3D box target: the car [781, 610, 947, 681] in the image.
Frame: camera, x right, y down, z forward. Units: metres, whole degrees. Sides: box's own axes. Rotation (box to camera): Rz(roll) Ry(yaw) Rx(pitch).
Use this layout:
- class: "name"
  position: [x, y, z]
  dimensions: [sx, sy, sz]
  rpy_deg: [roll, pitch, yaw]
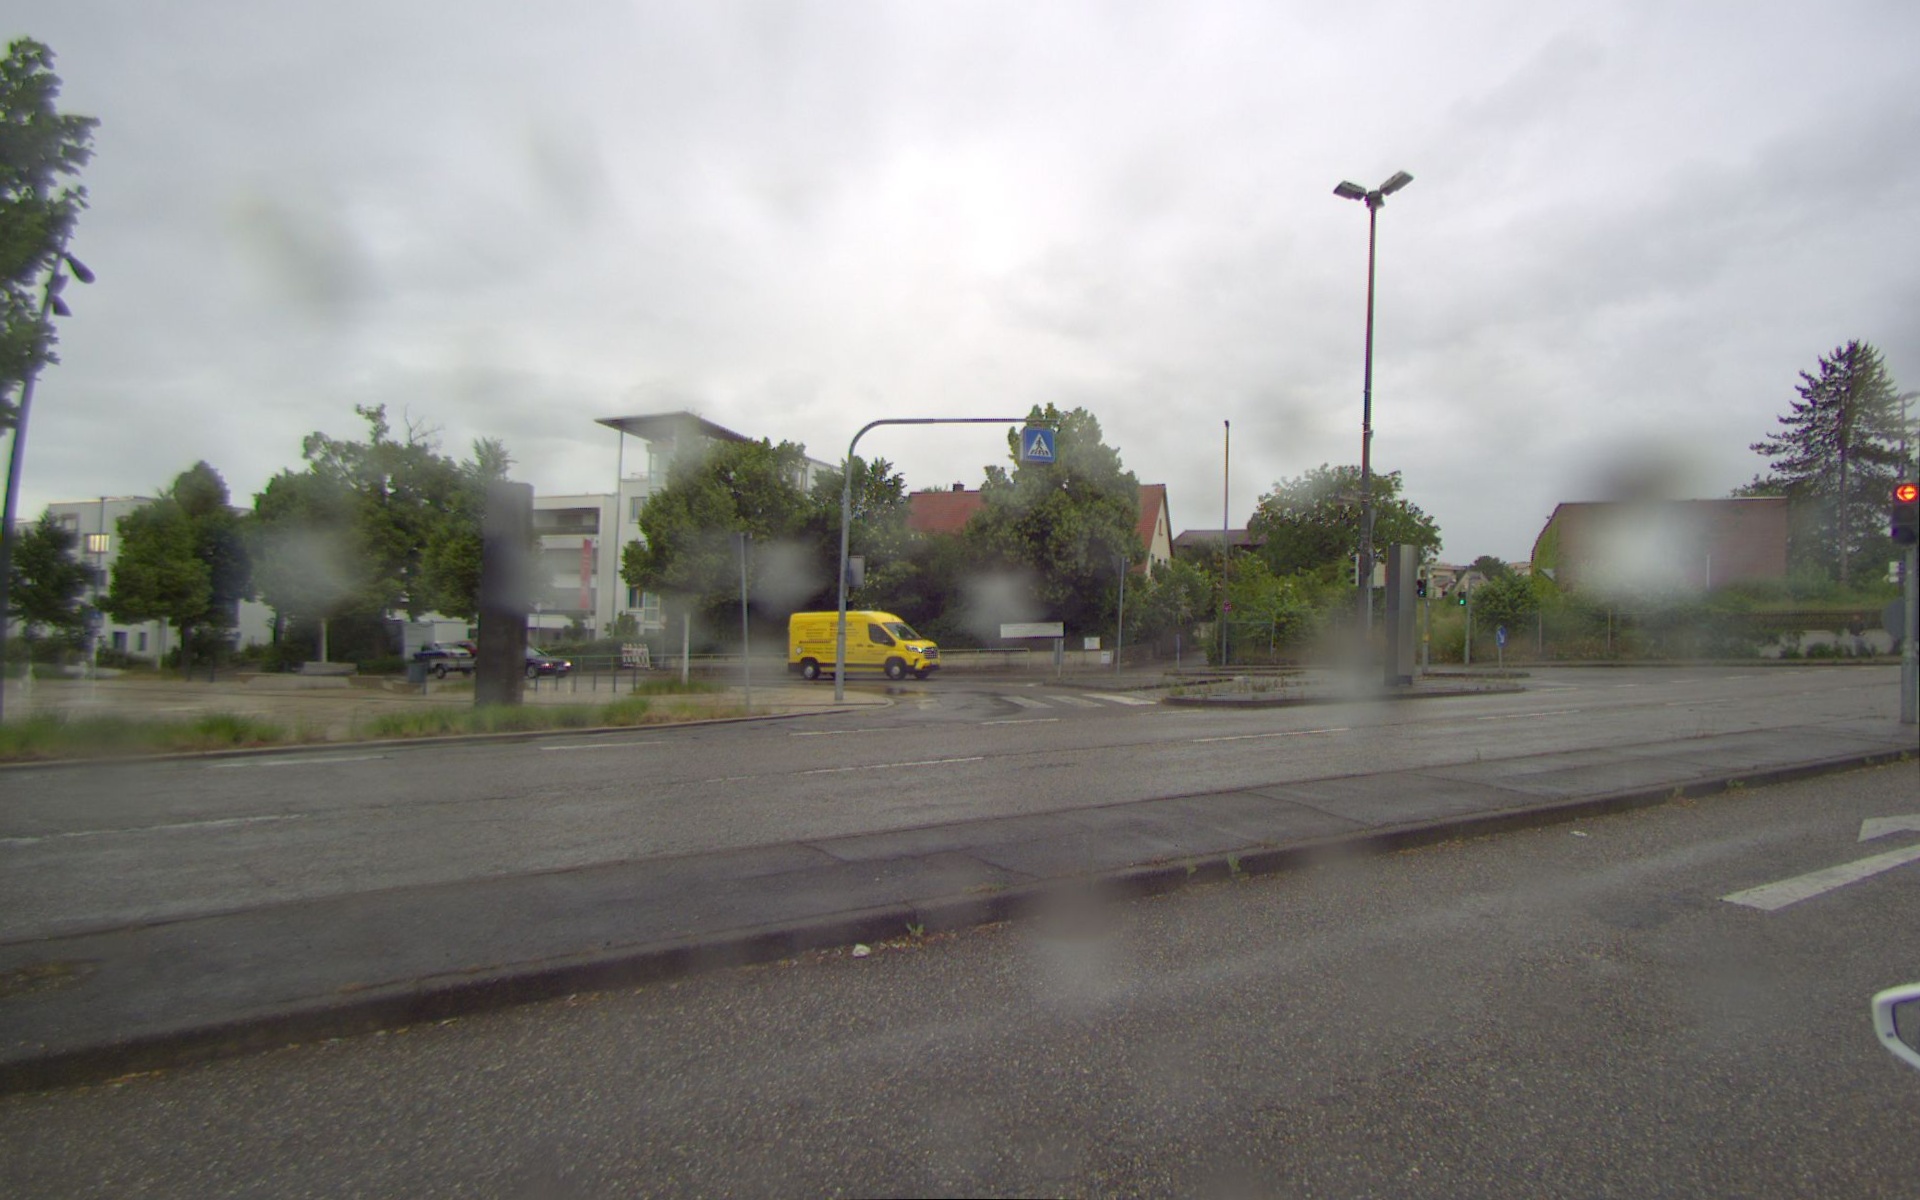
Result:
- class: "car"
  position: [-3.546, 1.707, 36.824]
  dimensions: [5.805, 2.441, 1.999]
  rpy_deg: [-2, -3, 24]

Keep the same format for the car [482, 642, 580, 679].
- class: "car"
  position: [-18.860, 2.649, 44.141]
  dimensions: [3.929, 1.559, 1.997]
  rpy_deg: [-2, -3, 29]

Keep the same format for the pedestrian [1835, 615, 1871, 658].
- class: "pedestrian"
  position: [33.555, 1.389, 37.738]
  dimensions: [0.816, 1.588, 0.756]
  rpy_deg: [1, -3, -31]
